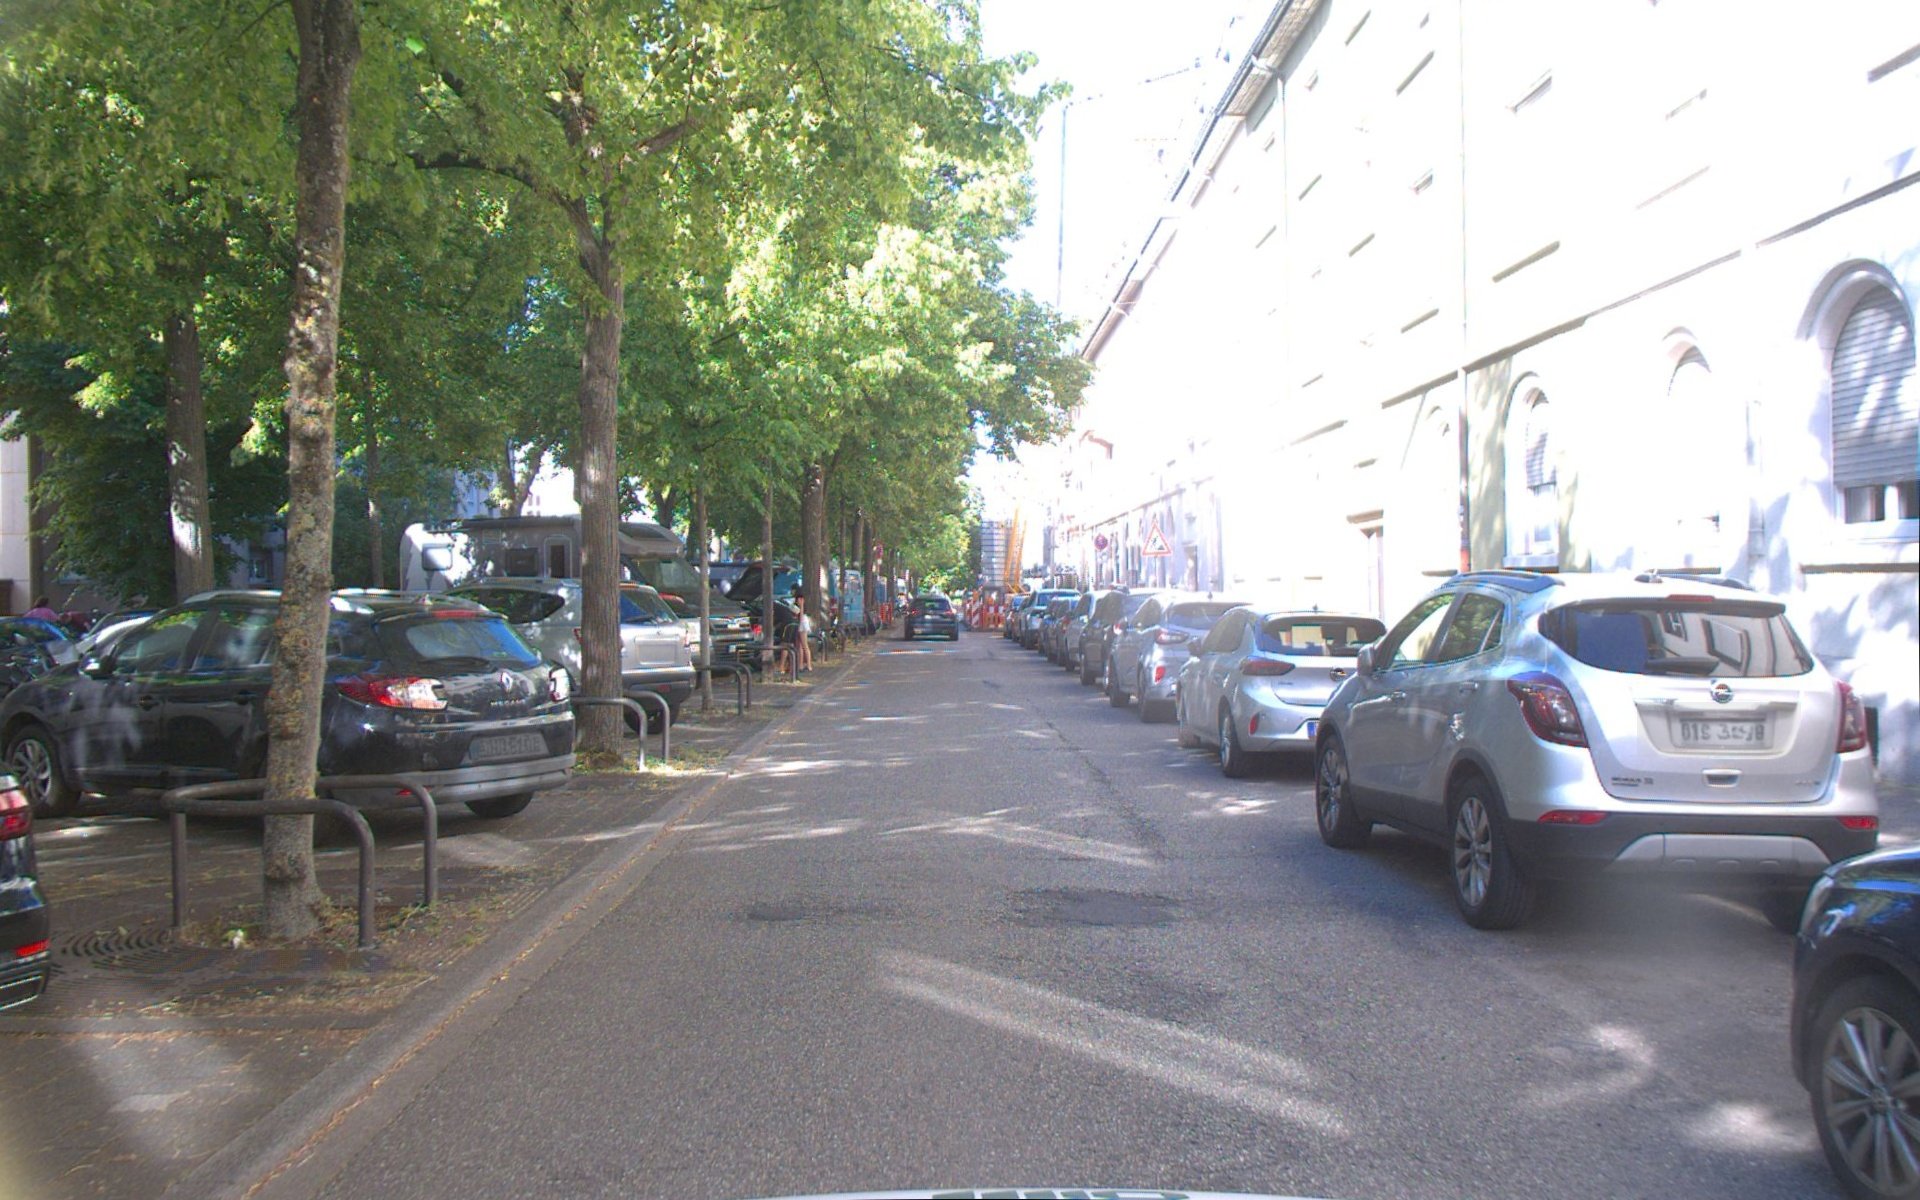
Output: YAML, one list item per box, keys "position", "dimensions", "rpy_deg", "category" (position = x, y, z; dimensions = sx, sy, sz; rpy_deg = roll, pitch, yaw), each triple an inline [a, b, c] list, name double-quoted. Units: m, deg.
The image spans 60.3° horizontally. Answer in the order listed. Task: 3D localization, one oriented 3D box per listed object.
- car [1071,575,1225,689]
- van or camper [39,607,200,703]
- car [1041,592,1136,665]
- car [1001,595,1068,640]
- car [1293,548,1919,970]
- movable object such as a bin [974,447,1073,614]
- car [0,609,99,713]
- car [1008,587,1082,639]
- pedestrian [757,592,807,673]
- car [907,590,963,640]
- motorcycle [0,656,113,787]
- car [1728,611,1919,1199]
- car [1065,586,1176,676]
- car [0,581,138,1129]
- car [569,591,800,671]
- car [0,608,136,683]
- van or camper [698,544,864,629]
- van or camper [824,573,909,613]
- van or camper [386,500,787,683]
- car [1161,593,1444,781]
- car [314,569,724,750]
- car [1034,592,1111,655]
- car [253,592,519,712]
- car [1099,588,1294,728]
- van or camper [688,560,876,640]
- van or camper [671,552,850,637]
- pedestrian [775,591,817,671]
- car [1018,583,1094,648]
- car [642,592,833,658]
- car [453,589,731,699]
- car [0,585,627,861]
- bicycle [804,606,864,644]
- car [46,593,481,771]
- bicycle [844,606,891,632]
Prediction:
- position: [2.908, 0.449, 26.372]
  dimensions: [1.688, 1.624, 4.155]
  rpy_deg: [-1, 1, -4]
  category: "car"
- position: [-15.399, 0.973, 30.447]
  dimensions: [1.564, 1.582, 2.697]
  rpy_deg: [-2, 1, -1]
  category: "van or camper"
- position: [2.770, 0.581, 36.308]
  dimensions: [1.598, 1.437, 4.087]
  rpy_deg: [-1, 1, -2]
  category: "car"
- position: [2.505, 0.565, 56.742]
  dimensions: [1.953, 1.434, 4.499]
  rpy_deg: [-1, 1, -2]
  category: "car"
- position: [3.183, 0.637, 8.974]
  dimensions: [1.688, 1.715, 4.155]
  rpy_deg: [-1, 1, -3]
  category: "car"
- position: [2.681, -2.882, 70.035]
  dimensions: [3.415, 6.877, 2.363]
  rpy_deg: [-1, 0, 32]
  category: "movable object such as a bin"
- position: [-15.429, 0.964, 25.831]
  dimensions: [1.728, 1.534, 4.308]
  rpy_deg: [-2, 1, -1]
  category: "car"
- position: [2.645, 0.376, 52.193]
  dimensions: [1.756, 1.550, 3.959]
  rpy_deg: [-1, 1, -5]
  category: "car"
- position: [-3.322, 0.610, 30.924]
  dimensions: [0.695, 1.481, 0.596]
  rpy_deg: [-1, 0, 22]
  category: "pedestrian"
- position: [-0.844, 0.484, 54.729]
  dimensions: [1.761, 1.530, 3.584]
  rpy_deg: [-2, 1, -2]
  category: "car"
- position: [-7.850, 1.005, 14.163]
  dimensions: [0.683, 0.973, 1.892]
  rpy_deg: [-1, 0, -39]
  category: "motorcycle"
- position: [3.143, 0.755, 2.939]
  dimensions: [1.519, 1.418, 3.858]
  rpy_deg: [-1, 1, -4]
  category: "car"
- position: [2.968, 0.536, 31.196]
  dimensions: [1.598, 1.561, 3.591]
  rpy_deg: [-1, 1, -2]
  category: "car"
- position: [-4.735, 0.730, 5.194]
  dimensions: [4.393, 1.481, 1.784]
  rpy_deg: [-1, 0, 31]
  category: "car"
- position: [-5.353, 0.590, 32.095]
  dimensions: [4.230, 1.449, 1.674]
  rpy_deg: [-1, 1, 26]
  category: "car"
- position: [-20.083, 0.986, 36.885]
  dimensions: [1.592, 1.507, 3.611]
  rpy_deg: [-2, 1, -1]
  category: "car"
- position: [-7.493, -0.543, 69.060]
  dimensions: [6.528, 3.297, 2.492]
  rpy_deg: [-1, 1, 28]
  category: "van or camper"
- position: [-6.243, -0.449, 110.522]
  dimensions: [5.235, 2.518, 2.289]
  rpy_deg: [-1, 1, 31]
  category: "van or camper"
- position: [-6.755, -0.089, 29.617]
  dimensions: [7.084, 2.981, 2.312]
  rpy_deg: [-1, 1, 26]
  category: "van or camper"
- position: [3.021, 0.694, 15.423]
  dimensions: [1.687, 1.457, 4.157]
  rpy_deg: [-1, 1, -1]
  category: "car"
- position: [-4.666, 0.580, 17.414]
  dimensions: [4.054, 1.708, 1.757]
  rpy_deg: [-1, 0, 28]
  category: "car"
- position: [2.764, 0.545, 41.306]
  dimensions: [1.585, 1.437, 3.787]
  rpy_deg: [-1, 1, -1]
  category: "car"
- position: [-8.095, 0.705, 23.273]
  dimensions: [3.469, 1.533, 1.753]
  rpy_deg: [-1, 1, 33]
  category: "car"
- position: [2.898, 0.653, 21.119]
  dimensions: [1.688, 1.555, 4.156]
  rpy_deg: [-1, 1, -3]
  category: "car"
- position: [-5.567, -0.004, 51.738]
  dimensions: [5.386, 2.315, 2.220]
  rpy_deg: [-1, 1, 23]
  category: "van or camper"
- position: [-6.771, -0.172, 55.967]
  dimensions: [5.756, 2.683, 2.252]
  rpy_deg: [-1, 1, 29]
  category: "van or camper"
- position: [-3.118, 0.586, 31.477]
  dimensions: [0.602, 1.481, 0.519]
  rpy_deg: [-1, 0, 22]
  category: "pedestrian"
- position: [2.660, 0.401, 46.623]
  dimensions: [1.779, 1.703, 4.673]
  rpy_deg: [-1, 1, -1]
  category: "car"
- position: [-5.289, 0.588, 39.140]
  dimensions: [4.393, 1.468, 1.728]
  rpy_deg: [-1, 1, 32]
  category: "car"
- position: [-5.621, 0.663, 25.210]
  dimensions: [3.910, 1.533, 1.755]
  rpy_deg: [-1, 1, 28]
  category: "car"
- position: [-4.381, 0.685, 10.816]
  dimensions: [4.329, 1.487, 1.712]
  rpy_deg: [-1, 0, 32]
  category: "car"
- position: [-3.663, 0.718, 48.091]
  dimensions: [1.702, 1.023, 0.506]
  rpy_deg: [-2, 0, -31]
  category: "bicycle"
- position: [-6.569, 0.671, 15.516]
  dimensions: [3.956, 1.427, 1.819]
  rpy_deg: [1, 1, 32]
  category: "car"
- position: [-3.722, 0.774, 66.407]
  dimensions: [1.858, 1.024, 0.430]
  rpy_deg: [-1, 0, 23]
  category: "bicycle"
